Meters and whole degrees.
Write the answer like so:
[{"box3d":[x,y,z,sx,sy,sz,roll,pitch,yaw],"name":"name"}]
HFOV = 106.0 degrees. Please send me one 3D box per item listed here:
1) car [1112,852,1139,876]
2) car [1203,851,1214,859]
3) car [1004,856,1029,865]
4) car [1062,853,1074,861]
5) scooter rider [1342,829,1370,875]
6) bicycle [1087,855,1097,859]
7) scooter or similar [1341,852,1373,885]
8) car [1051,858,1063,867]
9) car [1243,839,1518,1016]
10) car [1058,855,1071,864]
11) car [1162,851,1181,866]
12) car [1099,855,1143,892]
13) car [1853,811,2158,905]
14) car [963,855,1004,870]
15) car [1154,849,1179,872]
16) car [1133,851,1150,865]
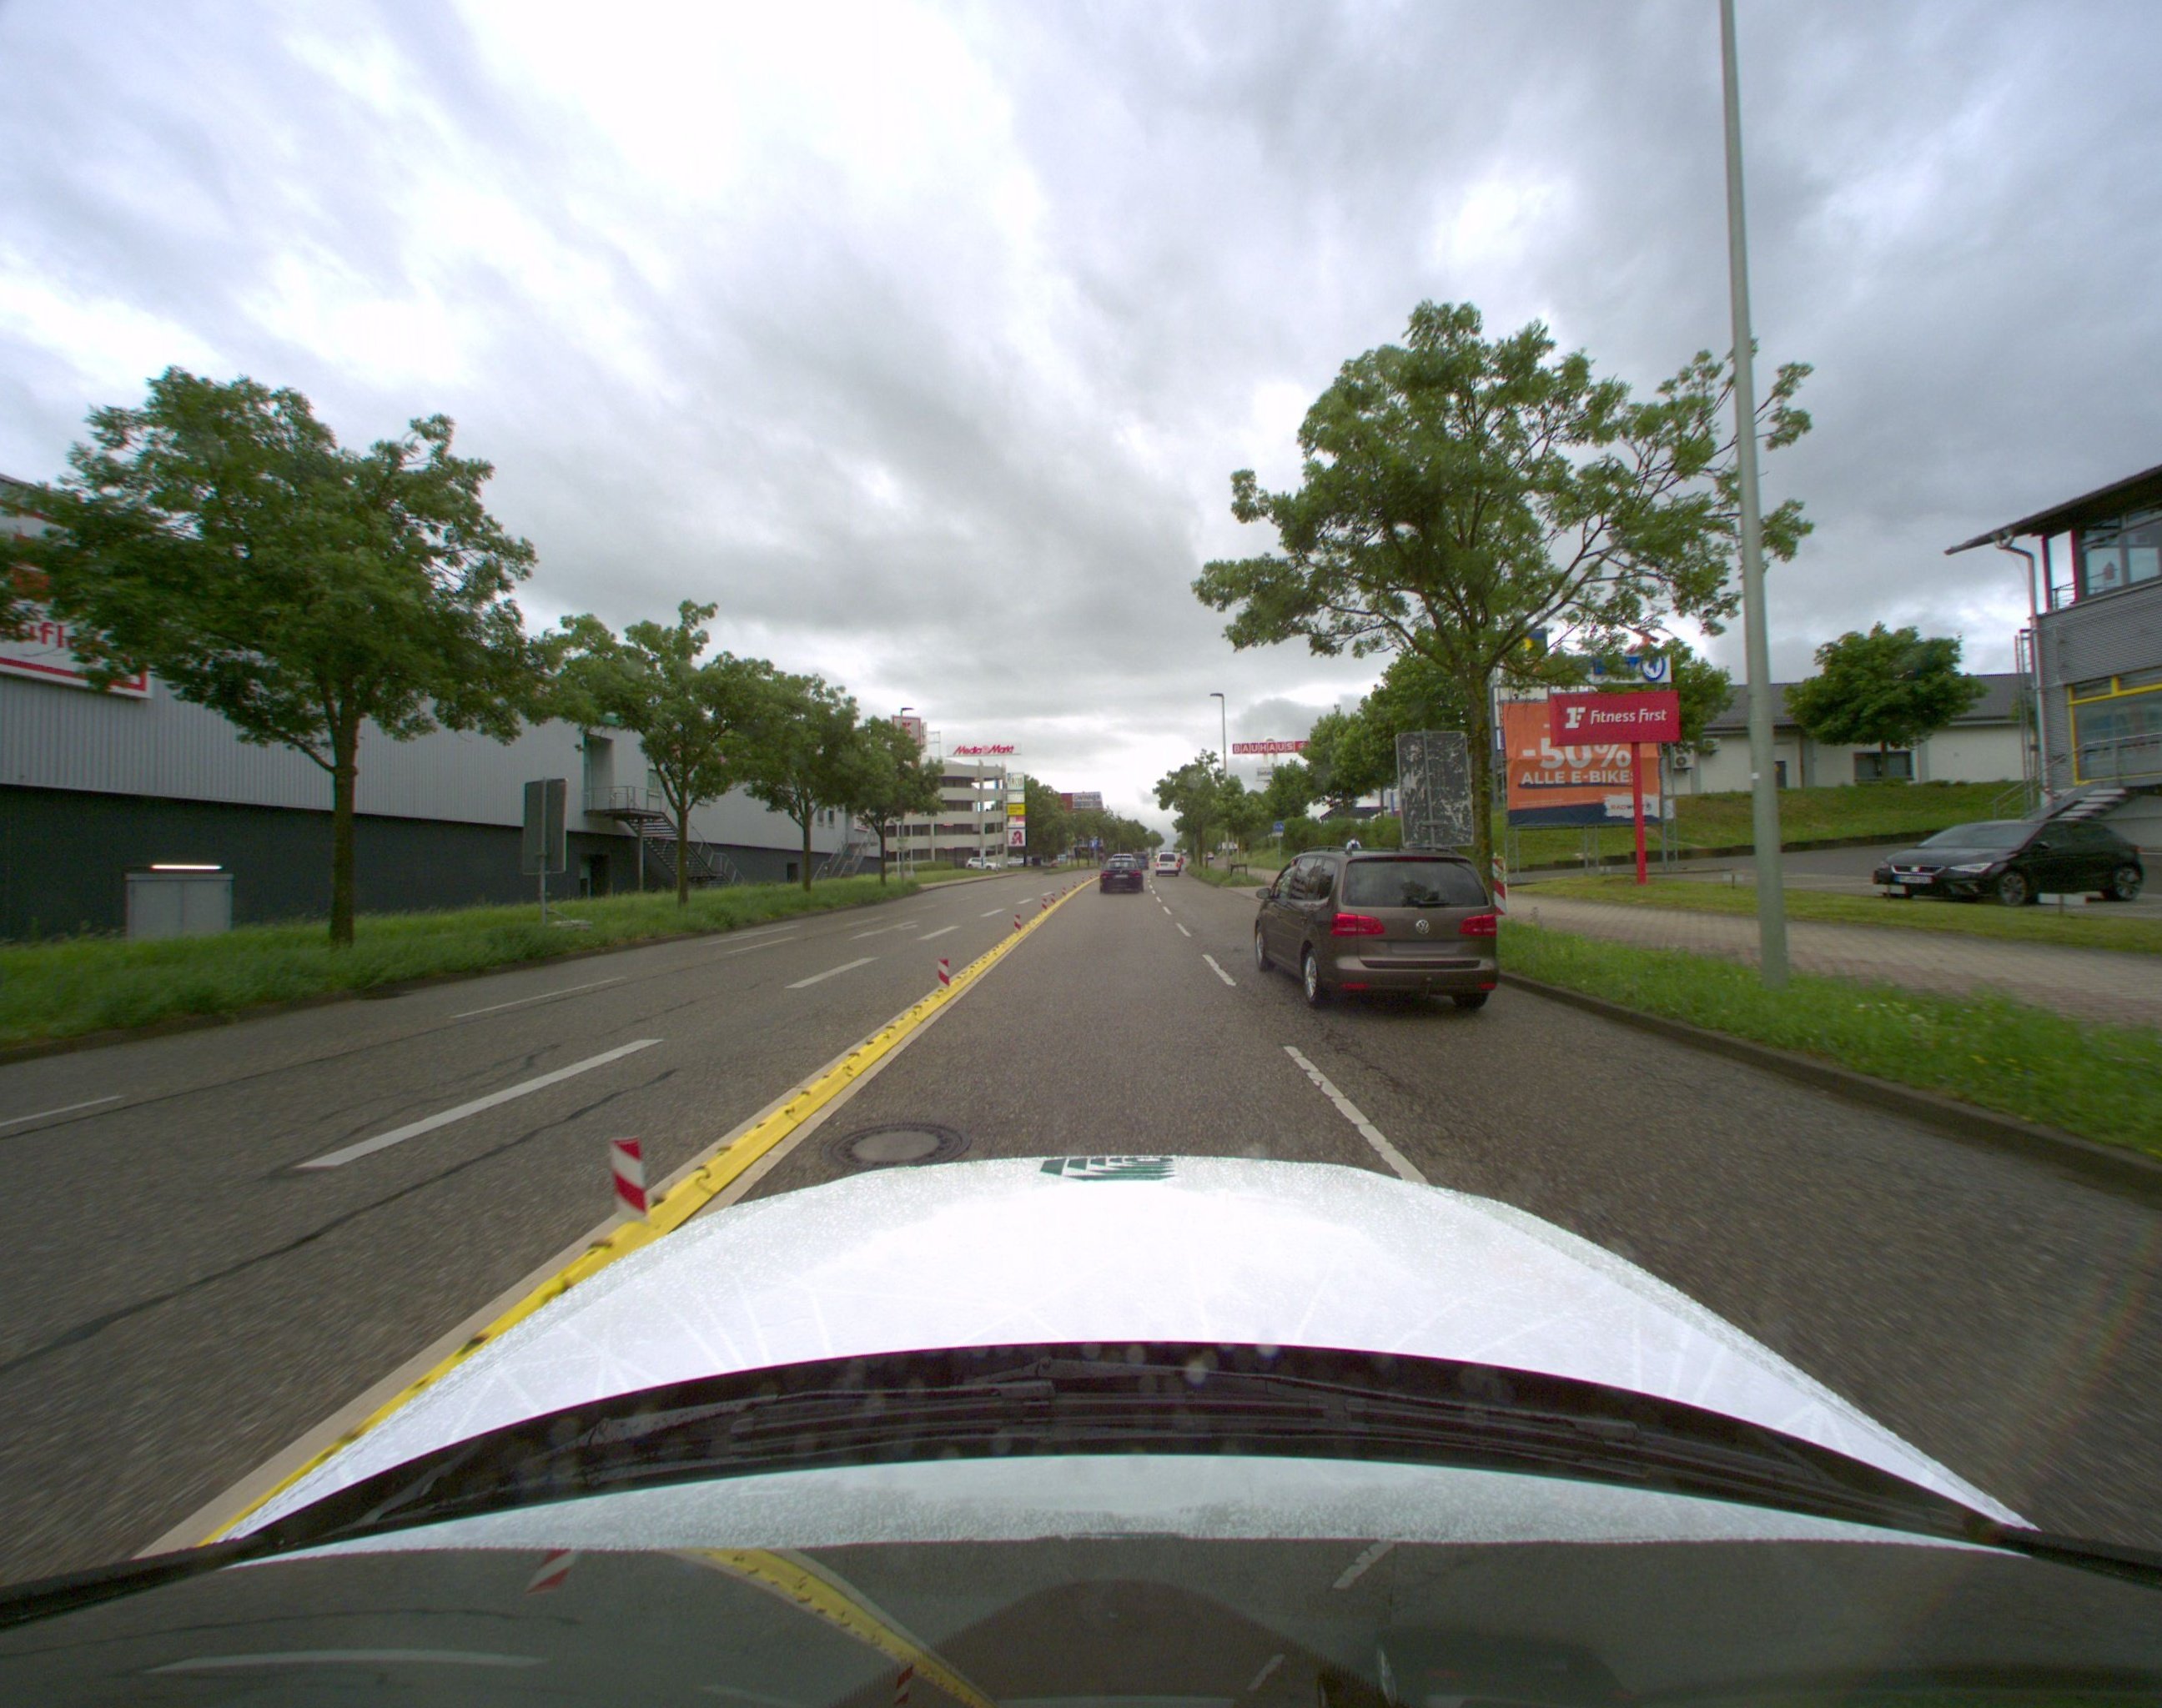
[{"box3d":[3.001,0.667,54.842,1.787,1.510,4.003,0,-1,3],"name":"car"},{"box3d":[25.619,0.241,163.981,1.786,1.510,4.005,0,-1,4],"name":"car"},{"box3d":[-12.751,1.257,161.081,4.584,1.745,1.967,0,1,-1],"name":"car"},{"box3d":[-3.030,0.714,190.885,2.127,1.773,4.616,0,1,6],"name":"car"},{"box3d":[11.198,-0.071,33.217,0.693,1.820,0.857,-4,0,-4],"name":"scooter rider"},{"box3d":[2.509,0.691,187.927,2.063,0.935,1.097,3,0,12],"name":"bicycle"},{"box3d":[11.244,0.591,33.197,0.693,1.263,1.399,-4,0,-4],"name":"scooter or similar"},{"box3d":[-4.532,1.585,155.533,1.925,1.608,4.715,0,1,3],"name":"car"},{"box3d":[3.115,0.704,9.444,1.679,1.581,4.218,1,-1,0],"name":"car"},{"box3d":[-3.396,1.172,169.943,2.029,1.762,4.953,0,1,5],"name":"car"},{"box3d":[9.059,0.445,81.660,1.786,1.510,4.005,0,-1,5],"name":"car"},{"box3d":[1.741,0.808,35.290,1.819,1.468,4.003,0,0,3],"name":"car"},{"box3d":[16.238,0.021,14.386,4.093,1.438,1.790,-2,2,-12],"name":"car"},{"box3d":[-11.605,0.941,97.108,4.372,1.408,1.916,4,3,22],"name":"car"},{"box3d":[6.575,0.488,62.825,1.819,1.759,4.004,0,0,4],"name":"car"},{"box3d":[6.595,0.464,88.420,1.786,1.510,4.004,0,-1,4],"name":"car"}]
